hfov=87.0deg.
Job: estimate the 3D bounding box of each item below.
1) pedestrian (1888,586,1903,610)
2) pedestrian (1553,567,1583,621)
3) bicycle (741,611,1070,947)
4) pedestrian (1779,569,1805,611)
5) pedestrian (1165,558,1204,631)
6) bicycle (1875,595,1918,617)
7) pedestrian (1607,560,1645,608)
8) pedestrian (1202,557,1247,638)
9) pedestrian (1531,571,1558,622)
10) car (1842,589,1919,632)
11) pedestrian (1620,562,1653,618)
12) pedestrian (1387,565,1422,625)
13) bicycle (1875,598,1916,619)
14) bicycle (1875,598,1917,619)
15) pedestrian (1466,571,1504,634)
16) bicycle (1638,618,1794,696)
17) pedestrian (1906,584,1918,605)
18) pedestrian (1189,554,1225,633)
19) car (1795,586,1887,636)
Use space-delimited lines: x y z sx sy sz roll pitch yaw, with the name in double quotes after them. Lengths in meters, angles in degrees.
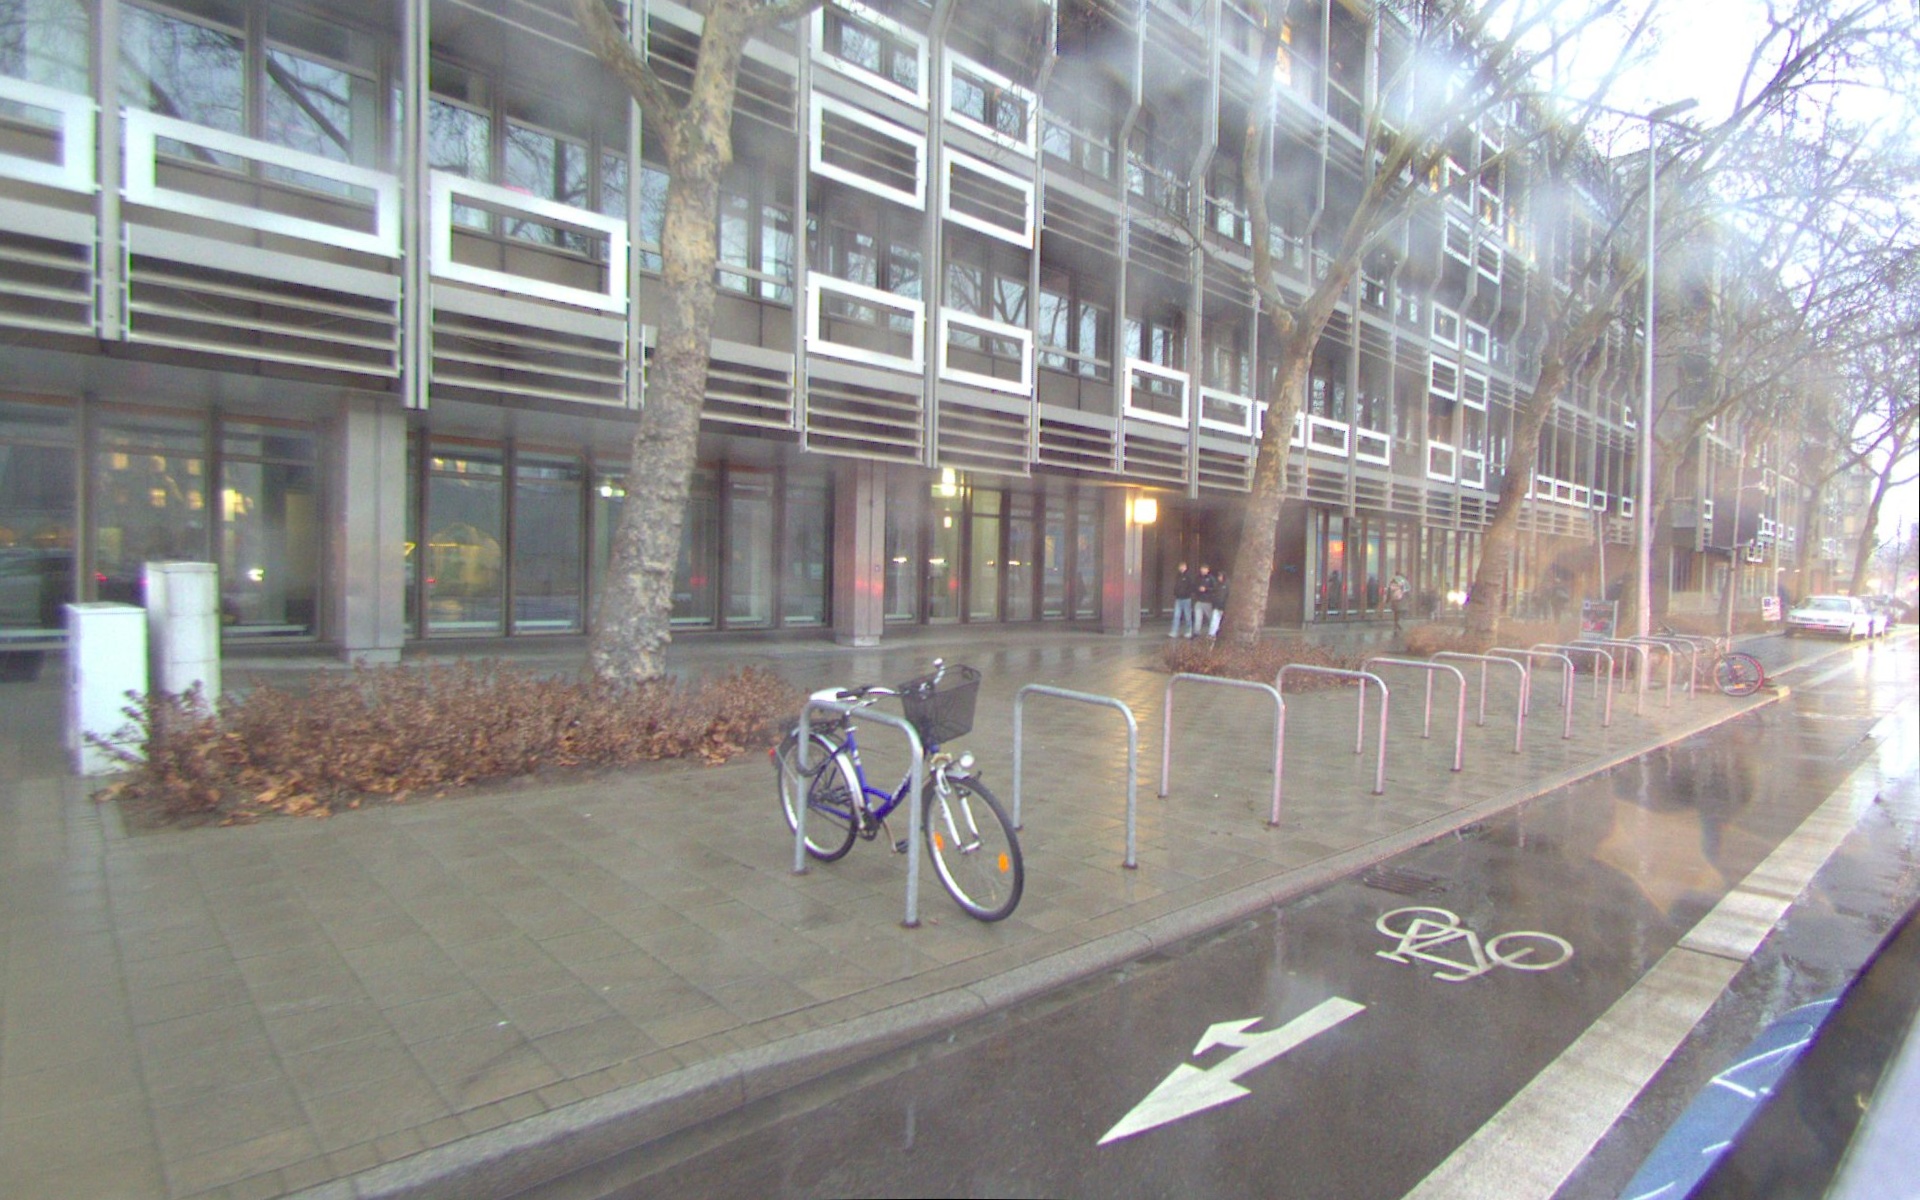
79.531 -0.182 86.037 0.758 2.039 0.837 -1 0 -42 "pedestrian"
20.321 -0.211 33.823 0.652 1.739 0.838 1 1 19 "pedestrian"
-0.332 0.697 4.648 0.428 1.162 1.752 0 4 -44 "bicycle"
41.325 -0.498 50.257 1.007 2.039 0.790 0 1 -41 "pedestrian"
4.946 -0.122 22.324 0.733 1.583 0.484 0 1 -42 "pedestrian"
45.897 0.272 49.610 1.518 1.049 0.462 0 1 42 "bicycle"
22.002 -0.535 33.445 0.824 1.543 0.865 0 2 -43 "pedestrian"
5.636 -0.061 21.541 0.858 1.689 0.501 0 2 -41 "pedestrian"
19.649 -0.142 34.030 0.634 1.675 0.837 1 1 21 "pedestrian"
35.095 0.358 38.363 3.930 1.504 1.997 -1 1 -41 "car"
25.133 -0.387 37.595 0.723 2.039 0.821 0 1 -43 "pedestrian"
12.620 -0.147 28.740 0.767 1.677 0.617 0 1 -41 "pedestrian"
47.249 0.436 51.117 1.518 1.049 0.462 0 1 42 "bicycle"
46.790 0.427 50.608 1.518 1.049 0.462 0 1 42 "bicycle"
13.375 0.055 25.807 0.604 1.563 0.649 0 1 -40 "pedestrian"
11.443 0.837 15.367 0.607 0.986 1.789 0 3 -44 "bicycle"
94.705 -0.540 100.697 0.758 2.039 0.837 -1 0 -42 "pedestrian"
5.346 -0.142 21.900 0.701 1.689 0.379 0 1 -41 "pedestrian"
29.230 0.319 33.538 3.859 1.449 1.609 0 5 -39 "car"
